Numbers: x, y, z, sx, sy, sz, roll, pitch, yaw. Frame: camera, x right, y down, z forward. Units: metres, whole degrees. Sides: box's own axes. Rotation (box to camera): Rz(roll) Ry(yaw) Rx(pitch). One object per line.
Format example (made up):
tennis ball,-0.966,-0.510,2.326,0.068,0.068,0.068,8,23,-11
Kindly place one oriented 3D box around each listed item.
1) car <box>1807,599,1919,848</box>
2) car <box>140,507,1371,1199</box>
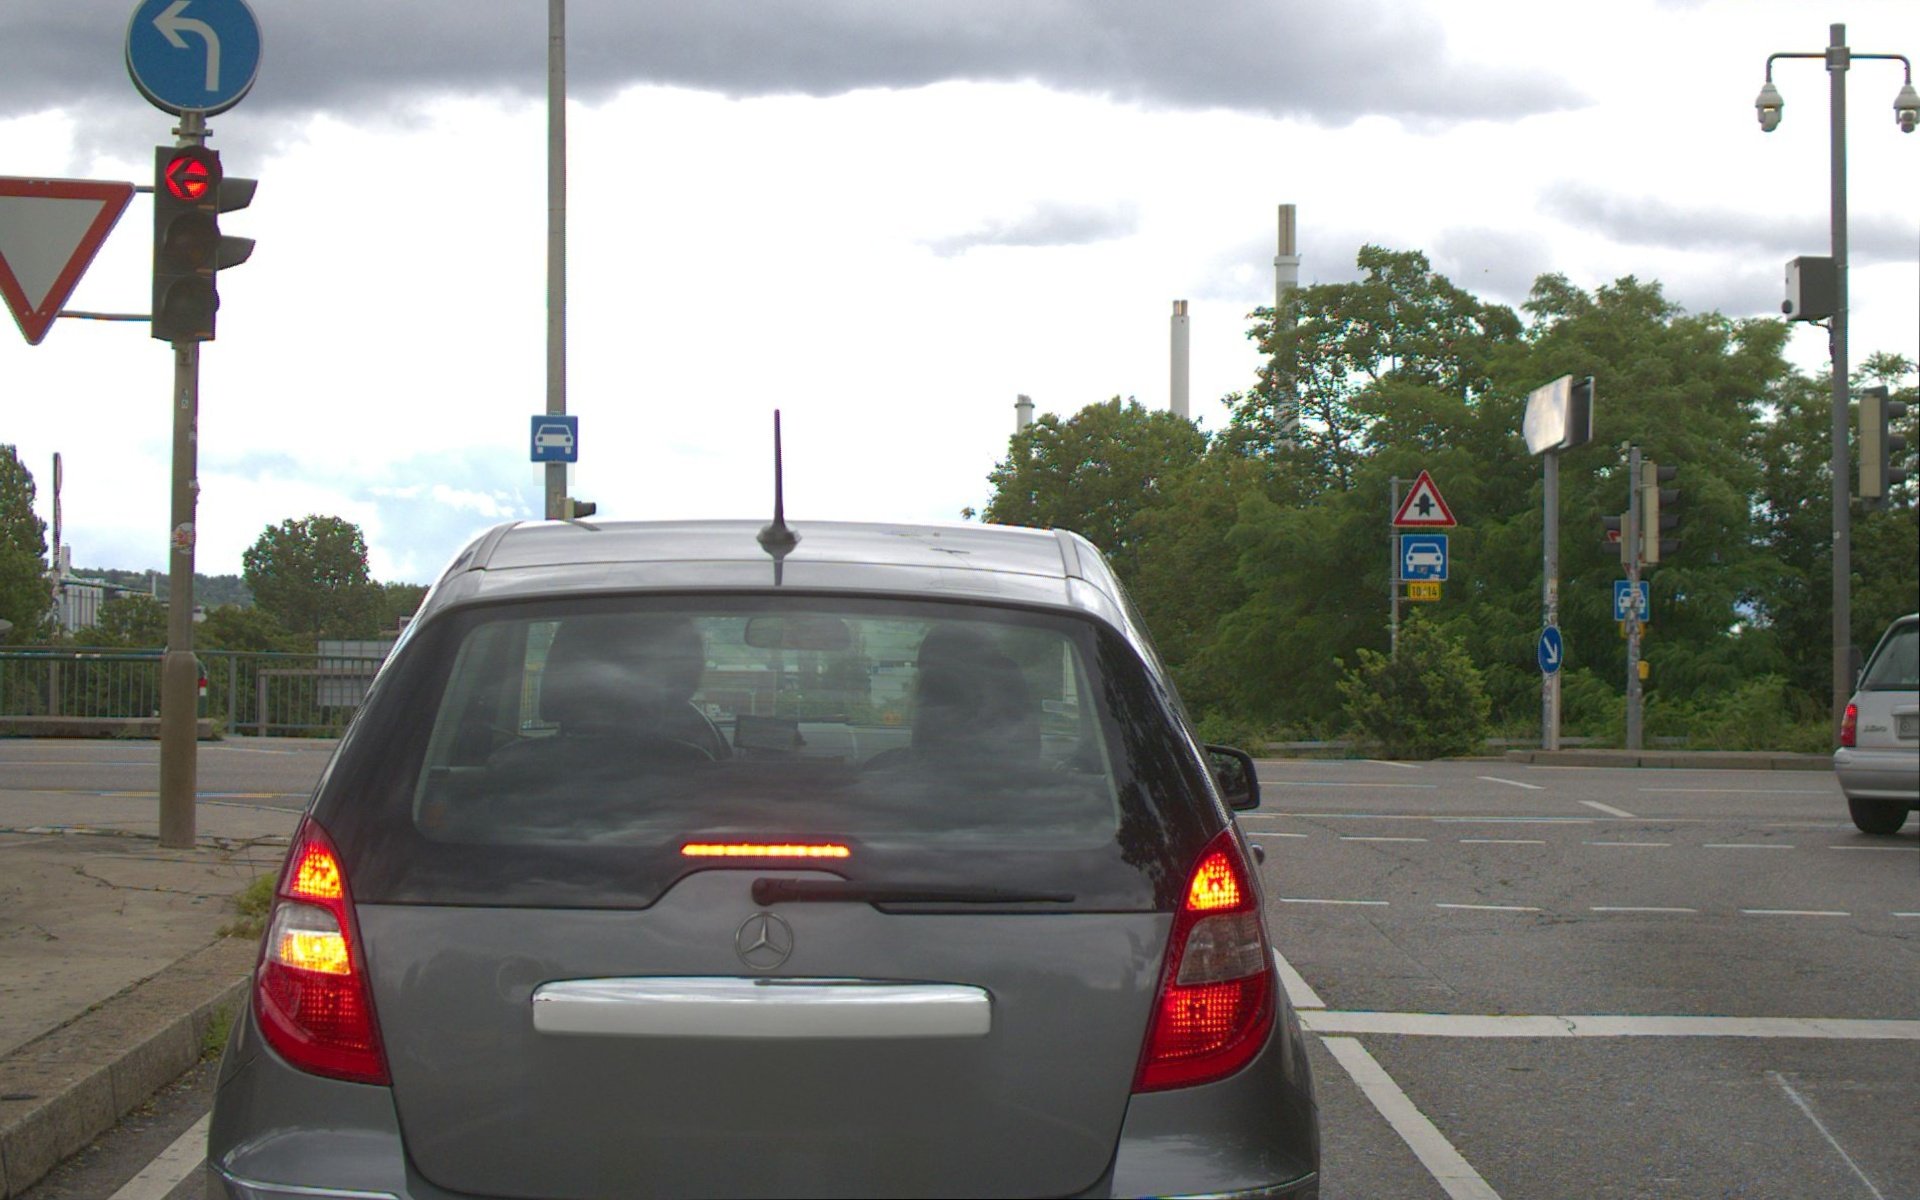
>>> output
car,6.764,0.716,21.159,1.589,1.427,3.434,1,1,42
car,-0.309,0.630,6.663,1.739,1.538,3.541,1,1,0
